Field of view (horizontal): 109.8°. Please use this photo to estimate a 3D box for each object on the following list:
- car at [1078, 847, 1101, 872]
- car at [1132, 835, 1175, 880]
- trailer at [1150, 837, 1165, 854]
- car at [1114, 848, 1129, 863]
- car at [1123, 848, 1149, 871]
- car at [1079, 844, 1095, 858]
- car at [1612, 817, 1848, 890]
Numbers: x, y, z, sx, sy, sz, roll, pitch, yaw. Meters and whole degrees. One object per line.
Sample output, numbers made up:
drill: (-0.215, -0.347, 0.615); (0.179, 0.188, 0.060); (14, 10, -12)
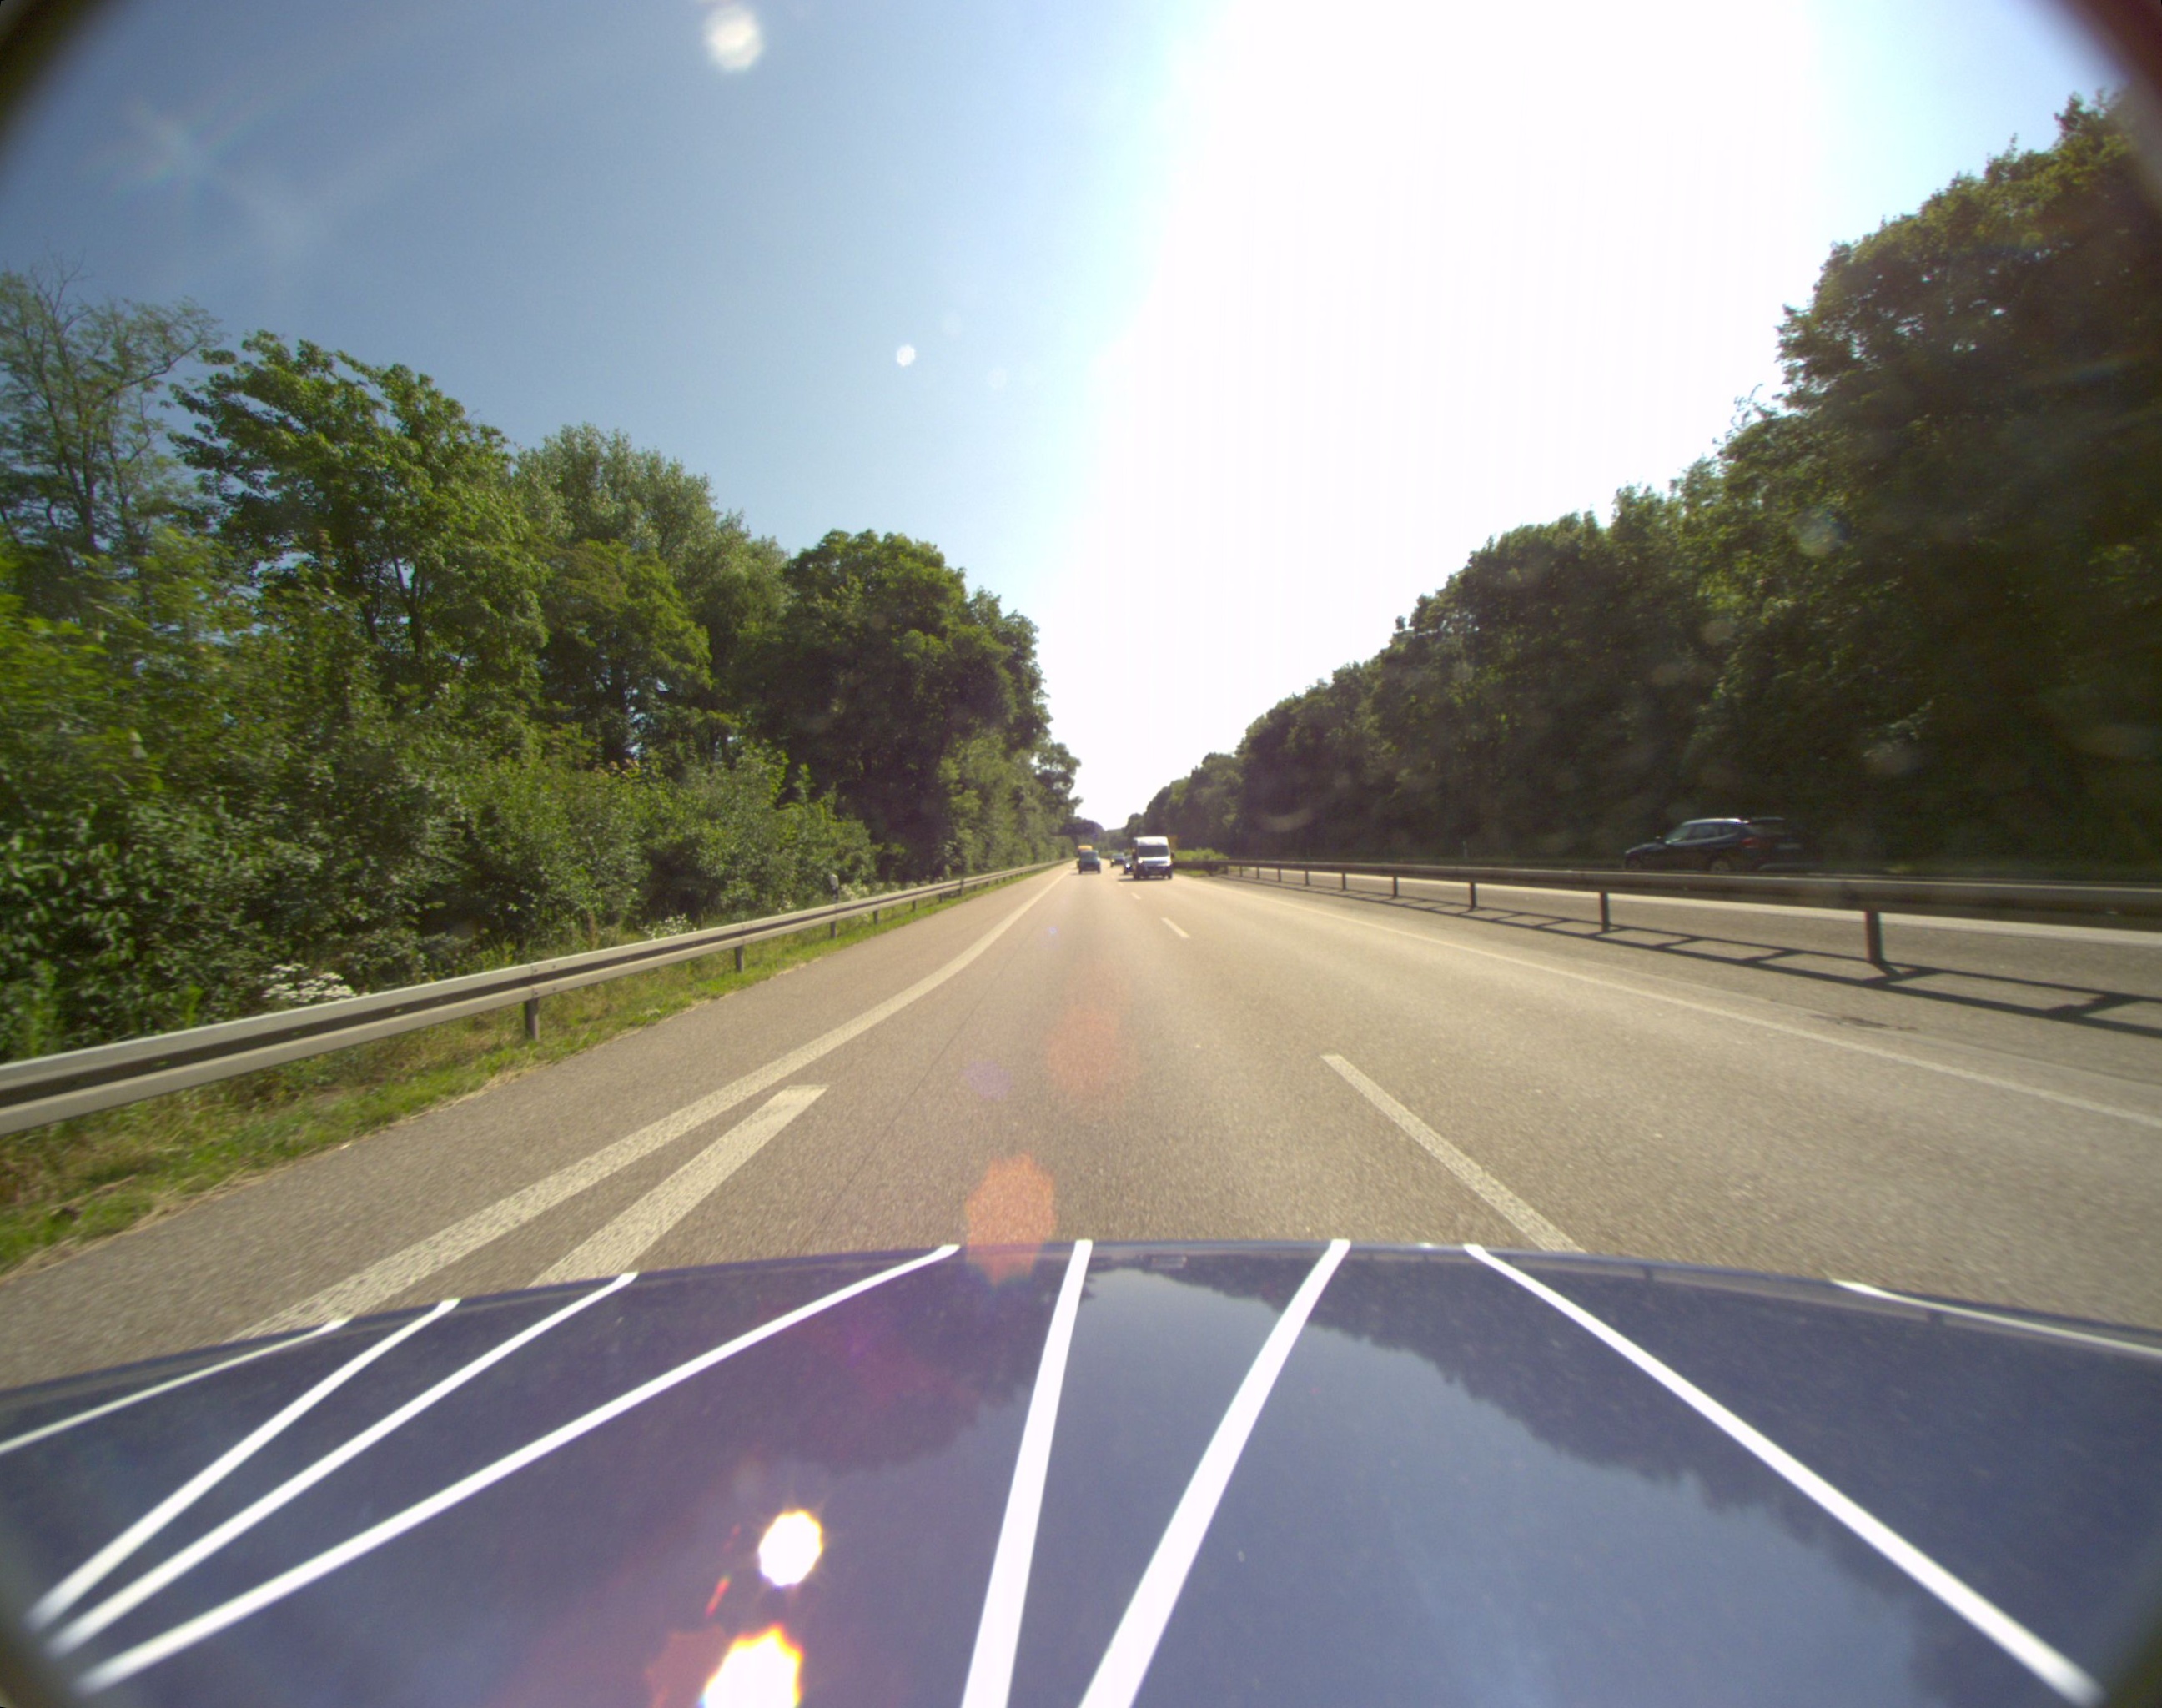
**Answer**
car: (0.721, 0.425, 63.678); (1.812, 1.921, 4.581); (-2, 0, 0)
car: (4.227, 0.172, 45.023); (2.046, 2.429, 4.637); (-2, 1, 0)
trailer: (17.076, -1.832, 169.403); (2.695, 3.690, 7.984); (-2, 1, 1)
car: (4.735, 0.196, 88.919); (1.517, 1.624, 3.611); (-2, 1, 1)
car: (4.097, 0.401, 56.804); (1.666, 1.624, 3.644); (-2, 0, 1)
car: (0.731, -0.366, 90.529); (1.737, 1.624, 3.899); (-2, 0, 1)
car: (15.577, -0.022, 18.644); (1.847, 1.501, 4.550); (-2, 0, -1)
